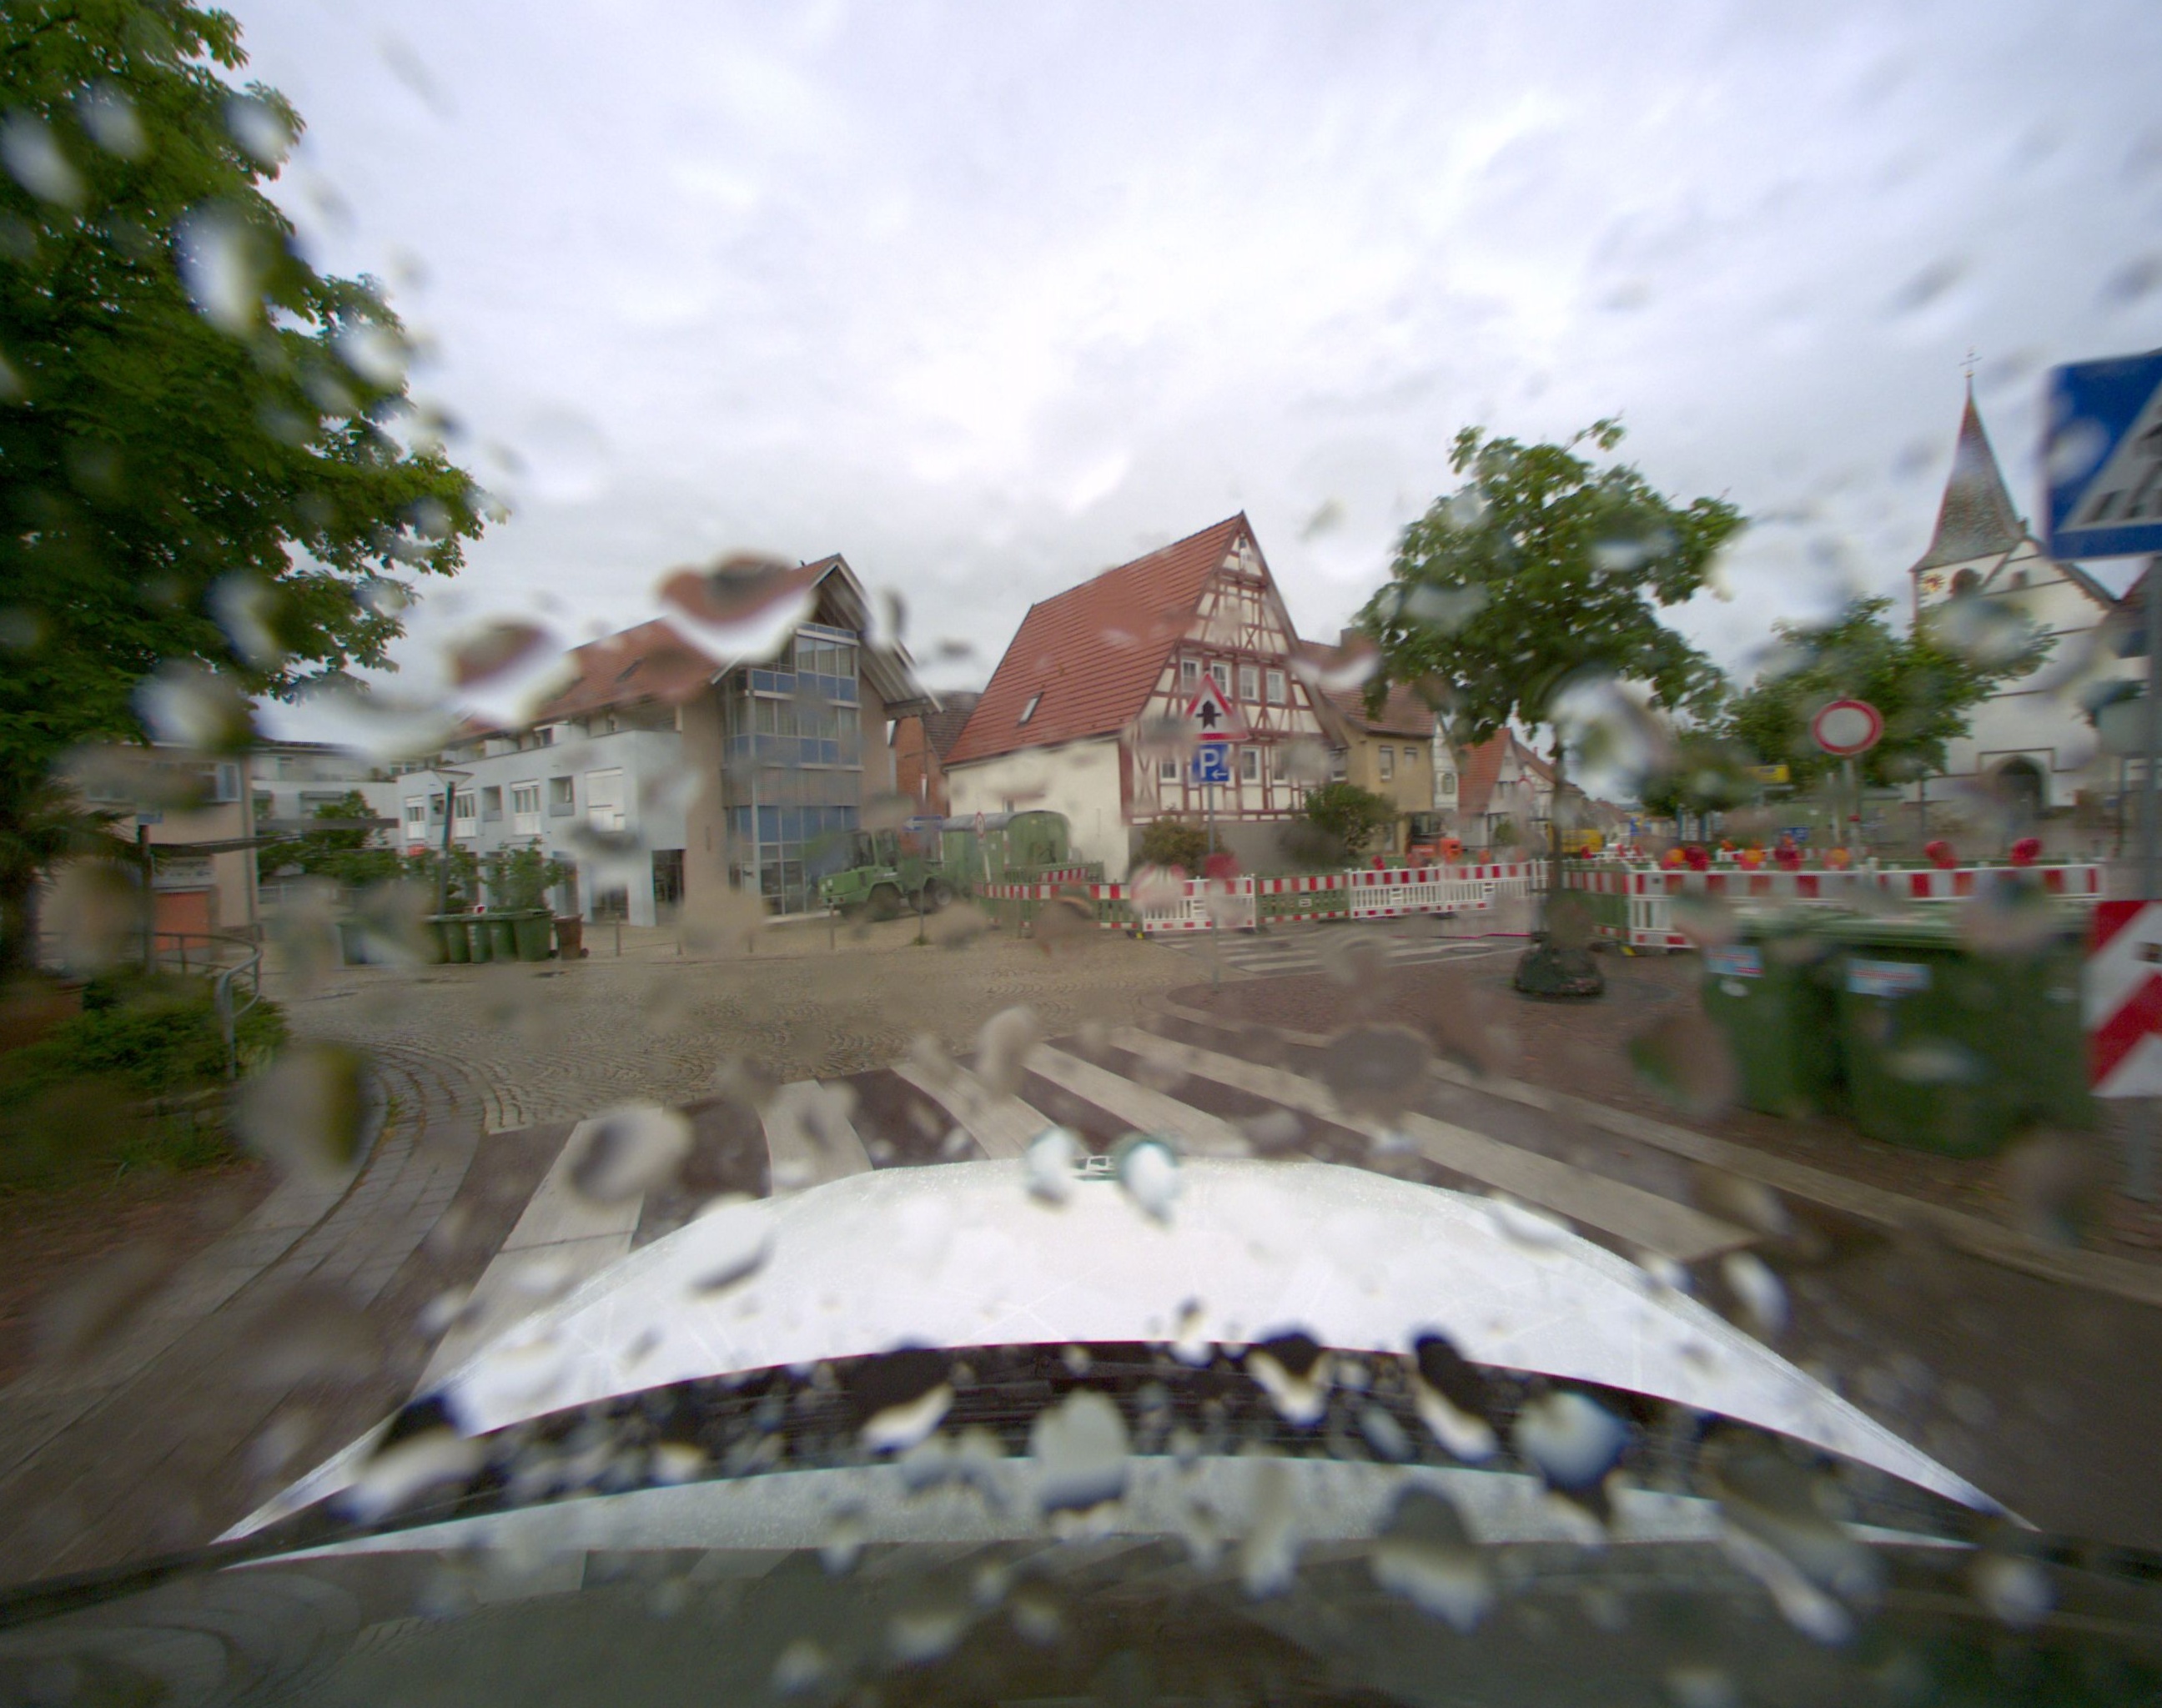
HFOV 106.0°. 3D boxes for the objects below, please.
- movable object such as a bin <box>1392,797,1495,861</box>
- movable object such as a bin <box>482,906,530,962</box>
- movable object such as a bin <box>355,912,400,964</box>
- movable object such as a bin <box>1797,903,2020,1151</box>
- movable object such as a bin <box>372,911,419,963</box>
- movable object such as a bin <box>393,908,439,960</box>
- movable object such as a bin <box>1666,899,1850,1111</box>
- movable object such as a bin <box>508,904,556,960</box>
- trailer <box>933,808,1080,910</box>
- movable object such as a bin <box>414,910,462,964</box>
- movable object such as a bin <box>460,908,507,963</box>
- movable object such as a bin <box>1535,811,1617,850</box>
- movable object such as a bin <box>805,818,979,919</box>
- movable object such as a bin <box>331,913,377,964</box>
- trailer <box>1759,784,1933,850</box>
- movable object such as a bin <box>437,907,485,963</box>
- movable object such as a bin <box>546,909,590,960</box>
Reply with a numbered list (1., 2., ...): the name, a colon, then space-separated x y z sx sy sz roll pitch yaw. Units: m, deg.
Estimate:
1. movable object such as a bin: 12.717 -0.843 28.447 4.023 2.014 1.887 -1 -1 -45
2. movable object such as a bin: -12.348 1.721 17.504 0.544 1.126 0.564 -4 0 18
3. movable object such as a bin: -16.460 1.965 19.065 0.533 1.126 0.541 -4 0 18
4. movable object such as a bin: 3.895 0.765 3.856 0.534 1.033 0.541 0 -2 -20
5. movable object such as a bin: -15.901 1.922 18.897 0.544 1.126 0.564 -4 0 18
6. movable object such as a bin: -15.307 1.840 18.761 0.544 1.126 0.564 -4 0 18
7. movable object such as a bin: 3.688 0.778 4.457 0.572 1.037 0.538 0 -1 -20
8. movable object such as a bin: -11.751 1.665 17.435 0.544 1.126 0.564 -4 0 18
9. trailer: -2.397 0.094 25.173 2.504 2.836 4.581 -1 1 -37
10. movable object such as a bin: -14.306 1.848 18.130 0.544 1.126 0.564 -4 0 18
11. movable object such as a bin: -13.024 1.772 17.757 0.535 1.126 0.564 -4 0 18
12. movable object such as a bin: 26.684 -1.239 43.864 3.369 2.013 3.501 1 1 38
13. movable object such as a bin: -5.286 0.354 23.133 4.314 2.554 1.889 -3 0 -41
14. movable object such as a bin: -17.081 1.974 19.137 0.535 1.126 0.540 -4 0 8
15. trailer: 36.109 -1.675 38.703 5.725 2.947 2.013 1 1 32
16. movable object such as a bin: -13.636 1.783 17.926 0.544 1.159 0.564 -4 0 18
17. movable object such as a bin: -10.904 1.710 17.314 0.494 0.991 0.563 -4 0 10
